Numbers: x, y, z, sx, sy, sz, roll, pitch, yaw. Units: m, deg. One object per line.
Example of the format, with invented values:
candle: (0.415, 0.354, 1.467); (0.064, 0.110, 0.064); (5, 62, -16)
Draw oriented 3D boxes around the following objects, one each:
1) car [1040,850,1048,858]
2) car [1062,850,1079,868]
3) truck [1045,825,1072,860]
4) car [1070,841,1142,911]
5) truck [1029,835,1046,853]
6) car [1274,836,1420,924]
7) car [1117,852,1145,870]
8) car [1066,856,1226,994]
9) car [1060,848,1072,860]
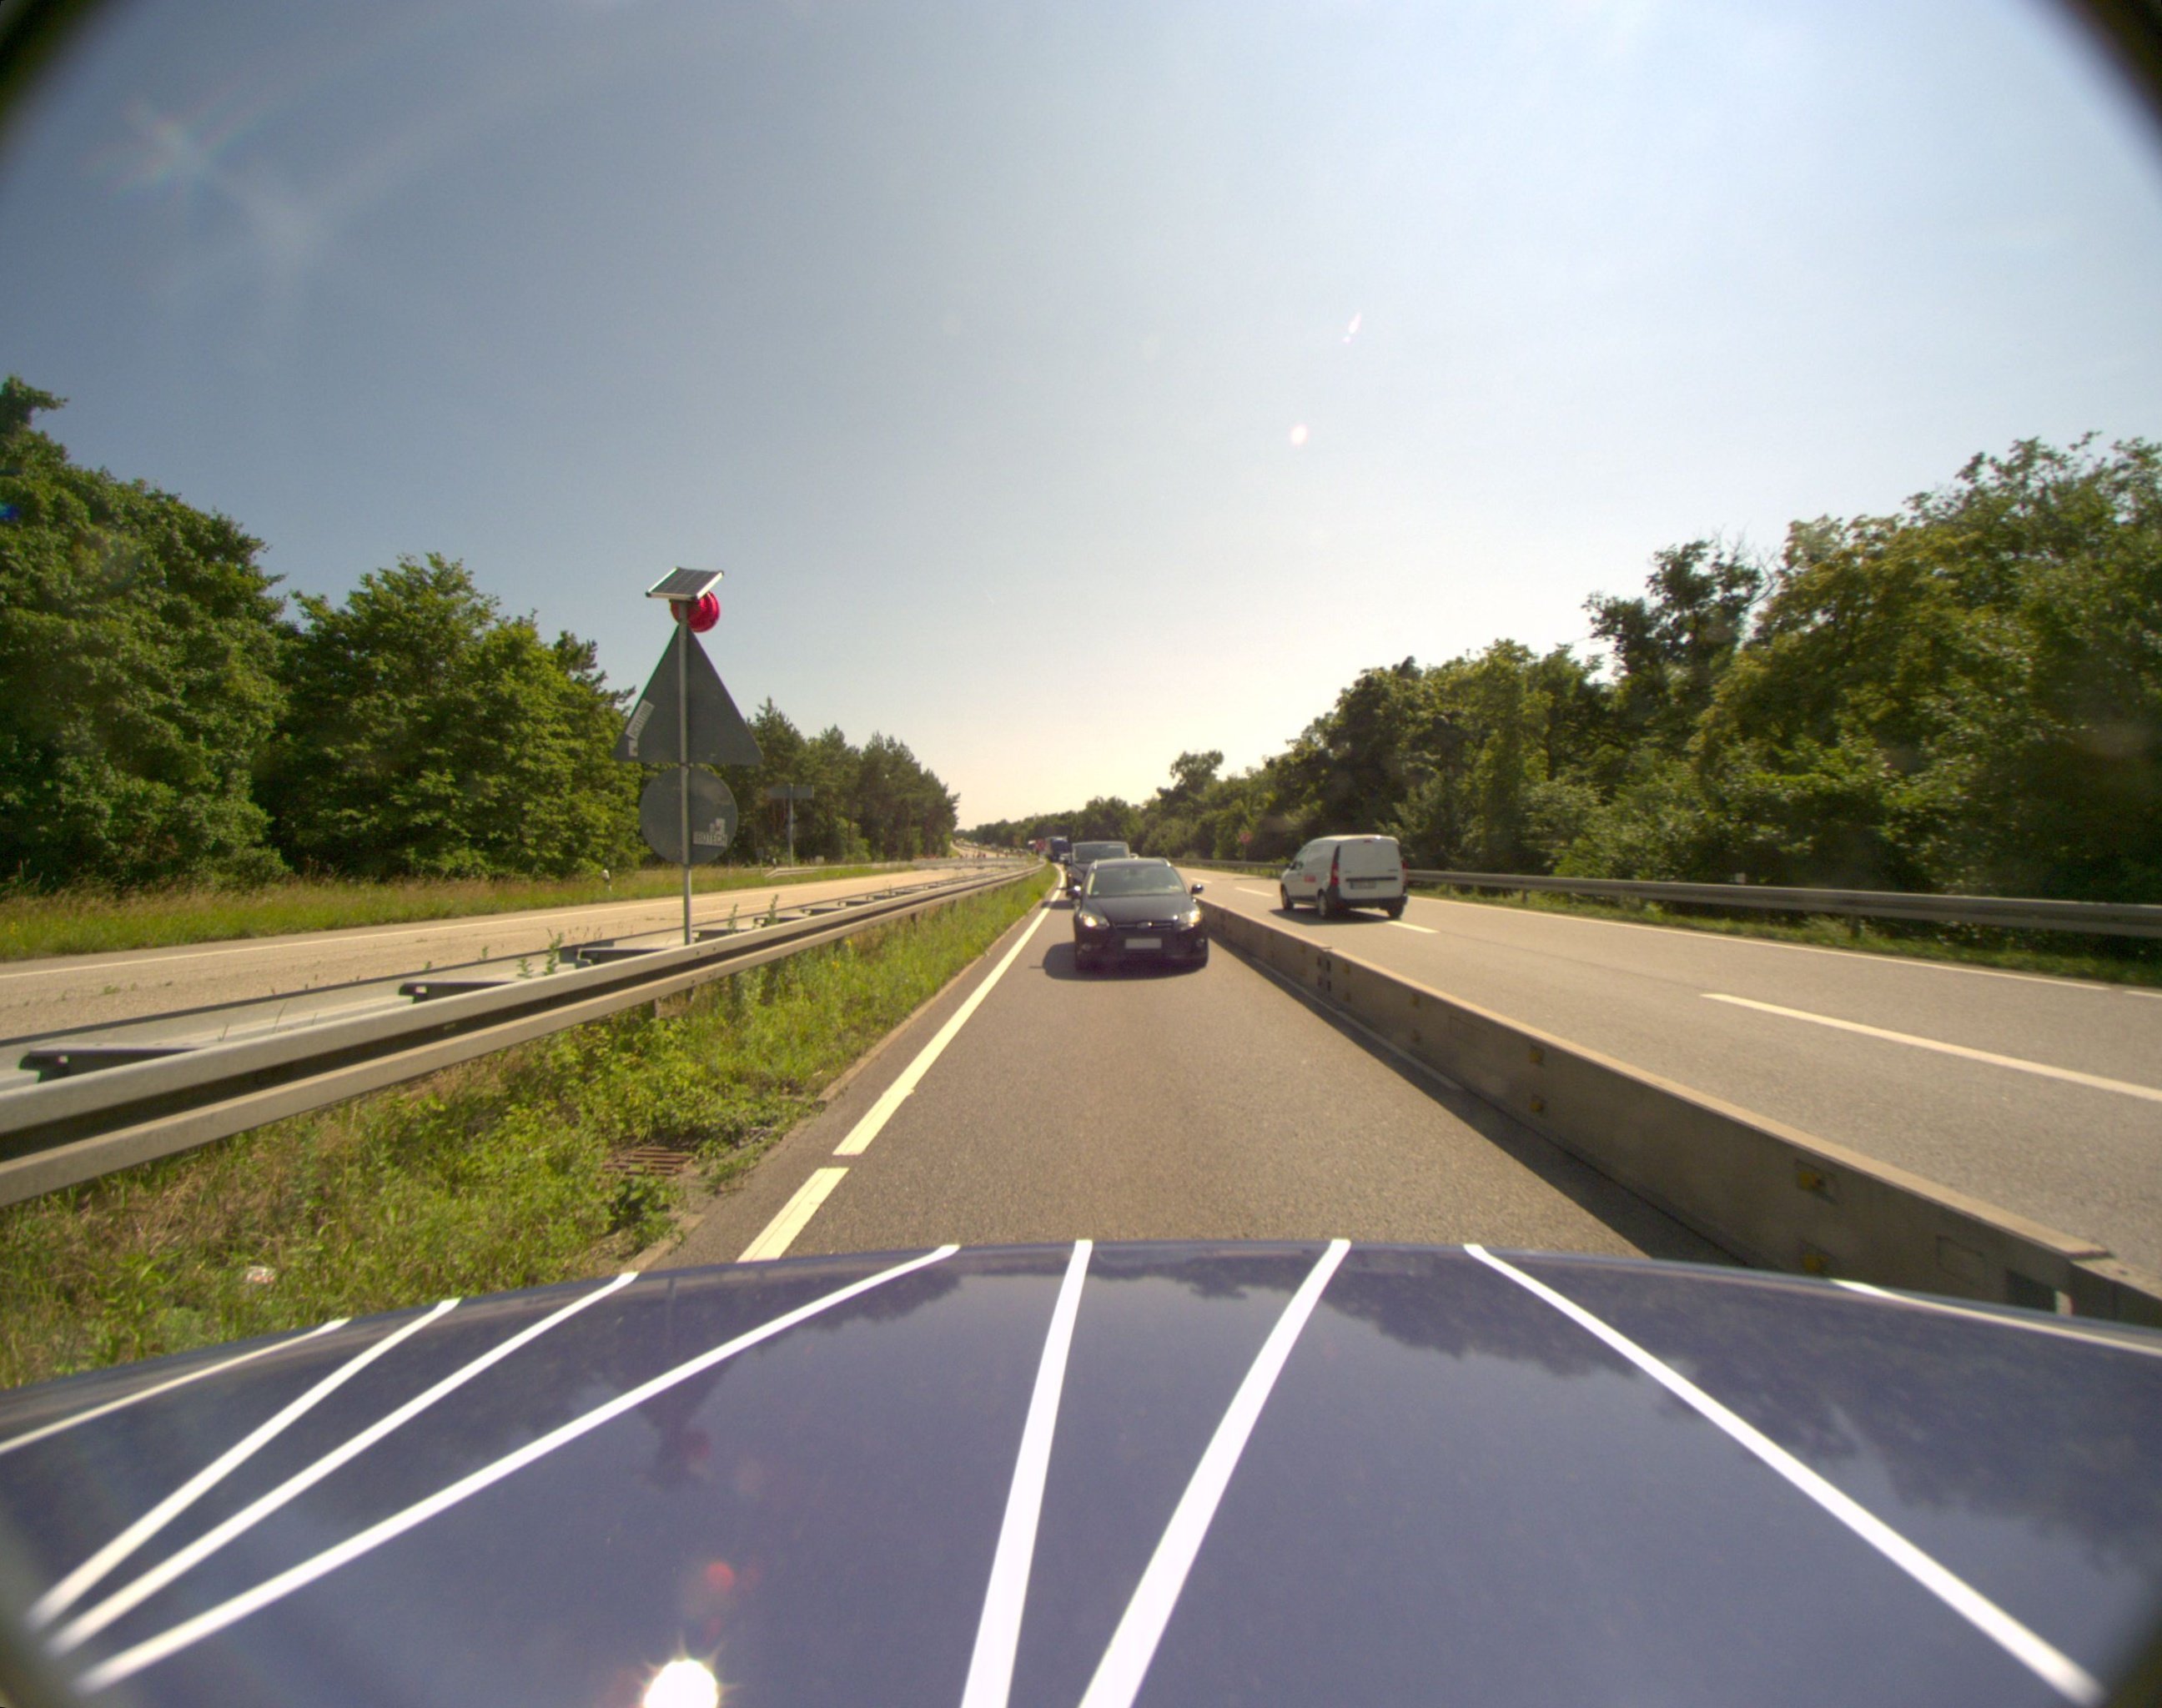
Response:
car: (-7.643, 0.022, 157.114); (1.527, 1.647, 3.979); (1, 0, -4)
car: (-1.007, 0.480, 73.960); (1.527, 1.647, 3.980); (-1, 1, 0)
truck: (-3.737, -1.829, 124.218); (3.830, 5.267, 11.241); (-1, 1, -4)
car: (0.722, 0.604, 23.885); (1.959, 1.901, 4.935); (-2, 0, 1)
truck: (-11.009, -2.551, 189.818); (3.831, 4.265, 11.240); (-1, 1, -5)
car: (5.962, 0.526, 17.612); (1.760, 1.754, 4.283); (-1, 0, -2)
car: (4.160, 0.576, 63.811); (1.954, 1.413, 4.352); (-2, 0, 0)
car: (0.805, 0.859, 11.497); (1.846, 1.537, 4.935); (-2, 0, 1)
car: (-2.131, -0.047, 107.577); (1.528, 1.647, 3.752); (0, 0, -5)
